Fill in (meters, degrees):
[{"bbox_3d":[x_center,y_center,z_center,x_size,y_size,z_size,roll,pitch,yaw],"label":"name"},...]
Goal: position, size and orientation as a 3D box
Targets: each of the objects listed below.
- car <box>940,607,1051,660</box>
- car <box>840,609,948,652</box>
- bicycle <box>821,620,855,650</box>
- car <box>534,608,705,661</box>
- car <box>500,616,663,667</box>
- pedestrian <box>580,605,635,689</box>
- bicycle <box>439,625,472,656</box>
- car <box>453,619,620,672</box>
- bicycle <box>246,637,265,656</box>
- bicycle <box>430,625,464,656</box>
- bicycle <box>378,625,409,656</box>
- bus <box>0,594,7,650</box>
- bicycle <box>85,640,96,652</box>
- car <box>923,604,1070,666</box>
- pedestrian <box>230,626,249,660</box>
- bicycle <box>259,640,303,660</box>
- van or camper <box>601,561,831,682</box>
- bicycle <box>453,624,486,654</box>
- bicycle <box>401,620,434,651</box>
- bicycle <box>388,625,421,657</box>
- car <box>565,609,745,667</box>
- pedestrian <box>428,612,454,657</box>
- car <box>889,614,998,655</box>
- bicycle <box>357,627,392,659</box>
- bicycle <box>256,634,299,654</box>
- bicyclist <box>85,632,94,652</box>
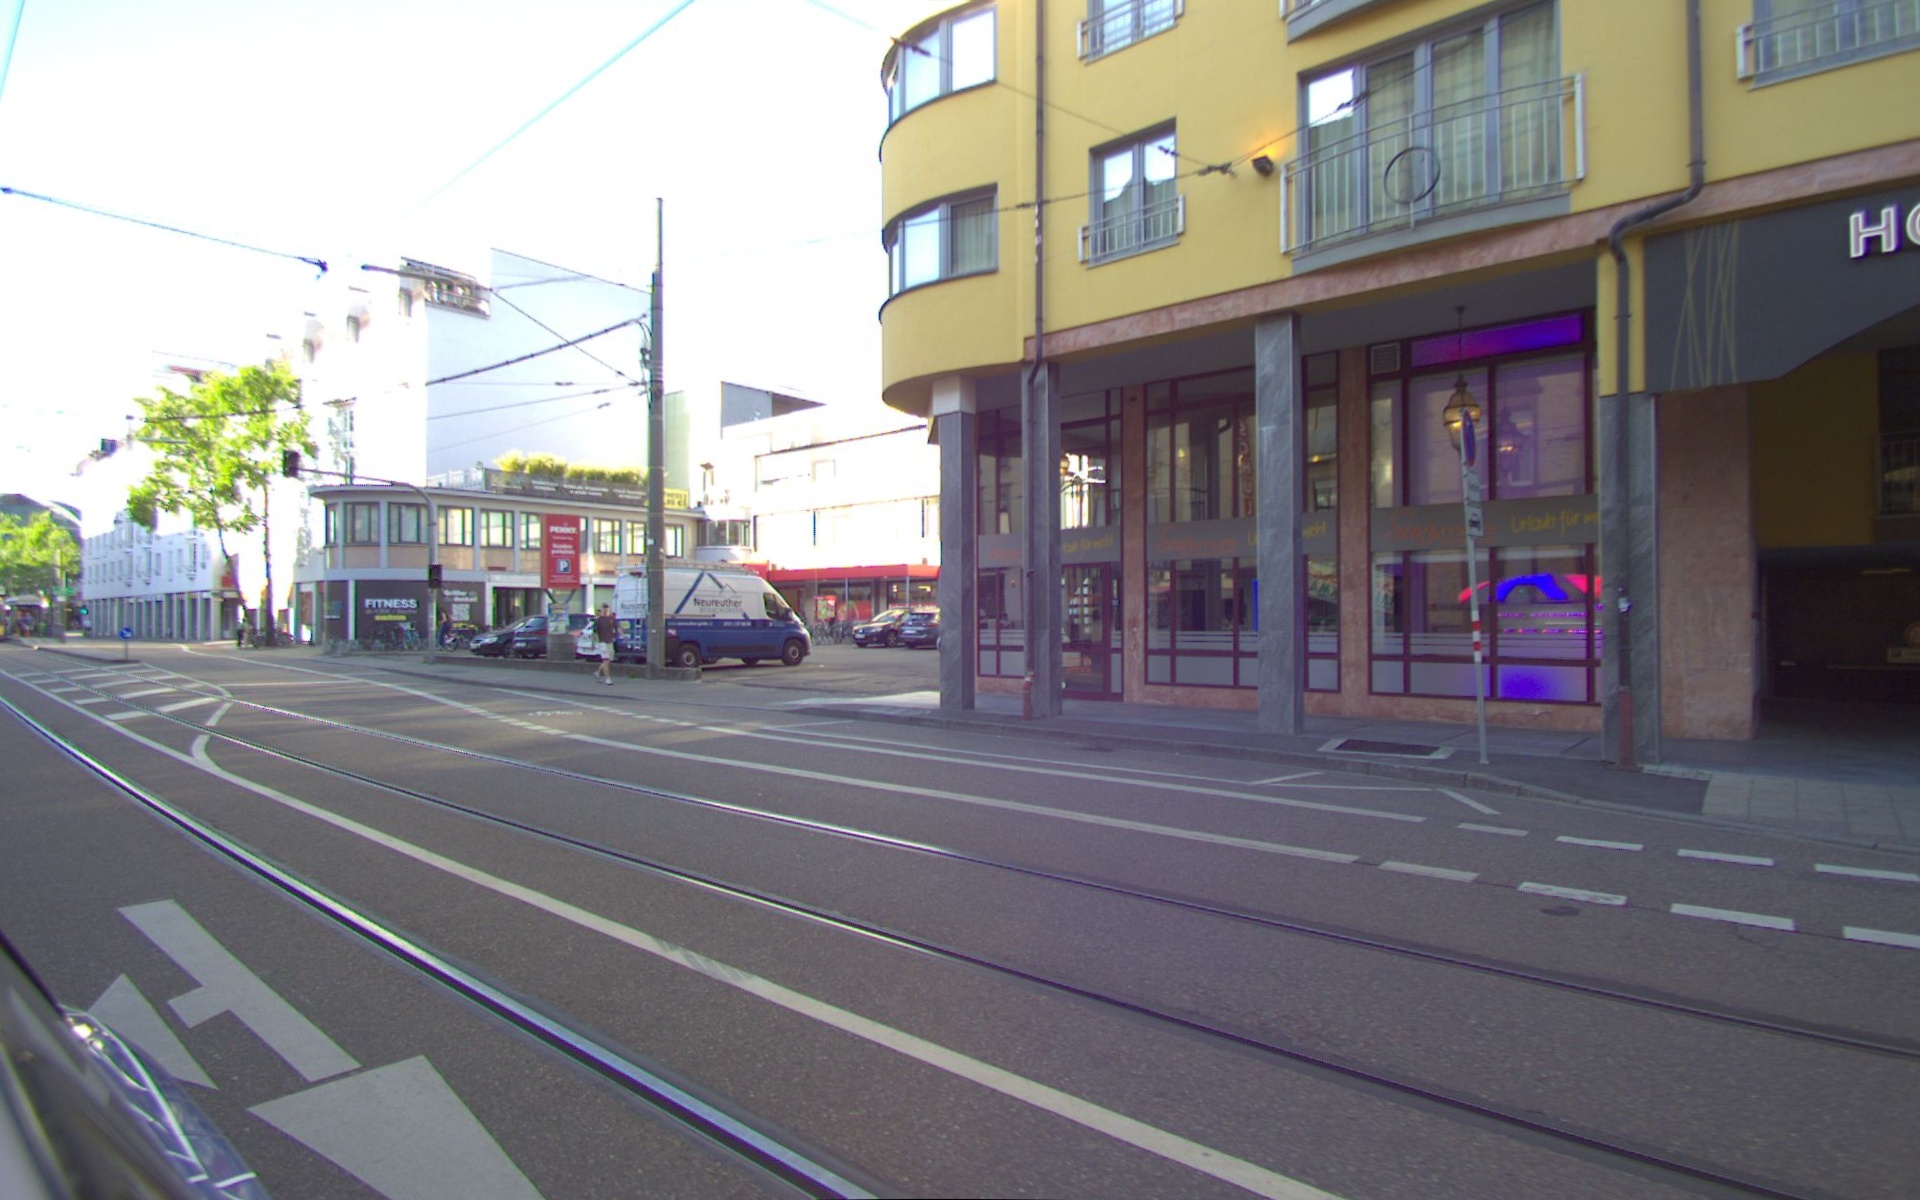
[{"bbox_3d":[1.296,1.139,35.673,1.997,1.713,3.949,-1,-1,38],"label":"car"},{"bbox_3d":[-2.456,1.122,38.375,1.997,1.519,3.949,-1,-1,38],"label":"car"},{"bbox_3d":[-4.987,1.428,41.353,0.426,1.196,1.833,1,-1,-42],"label":"bicycle"},{"bbox_3d":[-10.141,0.995,30.408,1.878,1.486,4.540,-2,-2,41],"label":"car"},{"bbox_3d":[-11.900,1.257,32.048,1.878,1.486,4.540,-2,-2,41],"label":"car"},{"bbox_3d":[-7.920,1.044,22.723,0.908,1.846,0.825,-2,-2,40],"label":"pedestrian"},{"bbox_3d":[-19.884,1.611,39.883,1.829,1.196,0.444,-2,-2,38],"label":"bicycle"},{"bbox_3d":[-14.035,1.466,33.768,1.878,1.595,4.843,-2,-2,41],"label":"car"},{"bbox_3d":[-36.378,2.397,52.225,1.850,0.919,0.384,-1,0,42],"label":"bicycle"},{"bbox_3d":[-20.033,1.577,39.502,1.829,1.196,0.444,-2,-2,38],"label":"bicycle"},{"bbox_3d":[-21.914,1.557,39.114,1.830,1.196,0.436,-2,-2,40],"label":"bicycle"},{"bbox_3d":[-66.947,1.504,68.221,13.674,3.594,2.781,-1,-1,42],"label":"bus"},{"bbox_3d":[-77.932,4.129,90.739,1.726,0.996,0.511,-1,0,42],"label":"bicycle"},{"bbox_3d":[1.058,1.045,30.610,4.116,1.749,1.974,-1,-1,39],"label":"car"},{"bbox_3d":[-37.265,2.200,52.353,0.621,1.729,0.828,0,-1,-22],"label":"pedestrian"},{"bbox_3d":[-34.897,2.564,52.050,1.824,0.919,0.390,-2,1,-44],"label":"bicycle"},{"bbox_3d":[-6.320,0.463,26.823,2.314,2.848,5.548,-2,1,41],"label":"van or camper"},{"bbox_3d":[-19.745,1.557,40.758,1.829,1.196,0.444,-2,-2,38],"label":"bicycle"},{"bbox_3d":[-21.354,1.390,39.823,1.829,1.196,0.438,-2,-2,38],"label":"bicycle"},{"bbox_3d":[-21.724,1.595,39.560,1.829,1.196,0.444,-2,-2,38],"label":"bicycle"},{"bbox_3d":[-8.441,1.011,28.336,1.878,1.486,4.540,-2,-2,41],"label":"car"},{"bbox_3d":[-20.275,1.344,39.538,0.682,1.710,0.674,-2,-2,39],"label":"pedestrian"},{"bbox_3d":[-0.551,1.223,37.199,1.997,1.364,3.949,-1,-1,38],"label":"car"},{"bbox_3d":[-22.615,1.664,39.054,1.827,1.196,0.441,-2,-2,35],"label":"bicycle"},{"bbox_3d":[-35.760,2.308,53.031,1.824,0.919,0.389,-2,-2,-44],"label":"bicycle"},{"bbox_3d":[-77.976,3.736,90.628,0.807,1.713,0.508,-1,0,41],"label":"bicyclist"}]
